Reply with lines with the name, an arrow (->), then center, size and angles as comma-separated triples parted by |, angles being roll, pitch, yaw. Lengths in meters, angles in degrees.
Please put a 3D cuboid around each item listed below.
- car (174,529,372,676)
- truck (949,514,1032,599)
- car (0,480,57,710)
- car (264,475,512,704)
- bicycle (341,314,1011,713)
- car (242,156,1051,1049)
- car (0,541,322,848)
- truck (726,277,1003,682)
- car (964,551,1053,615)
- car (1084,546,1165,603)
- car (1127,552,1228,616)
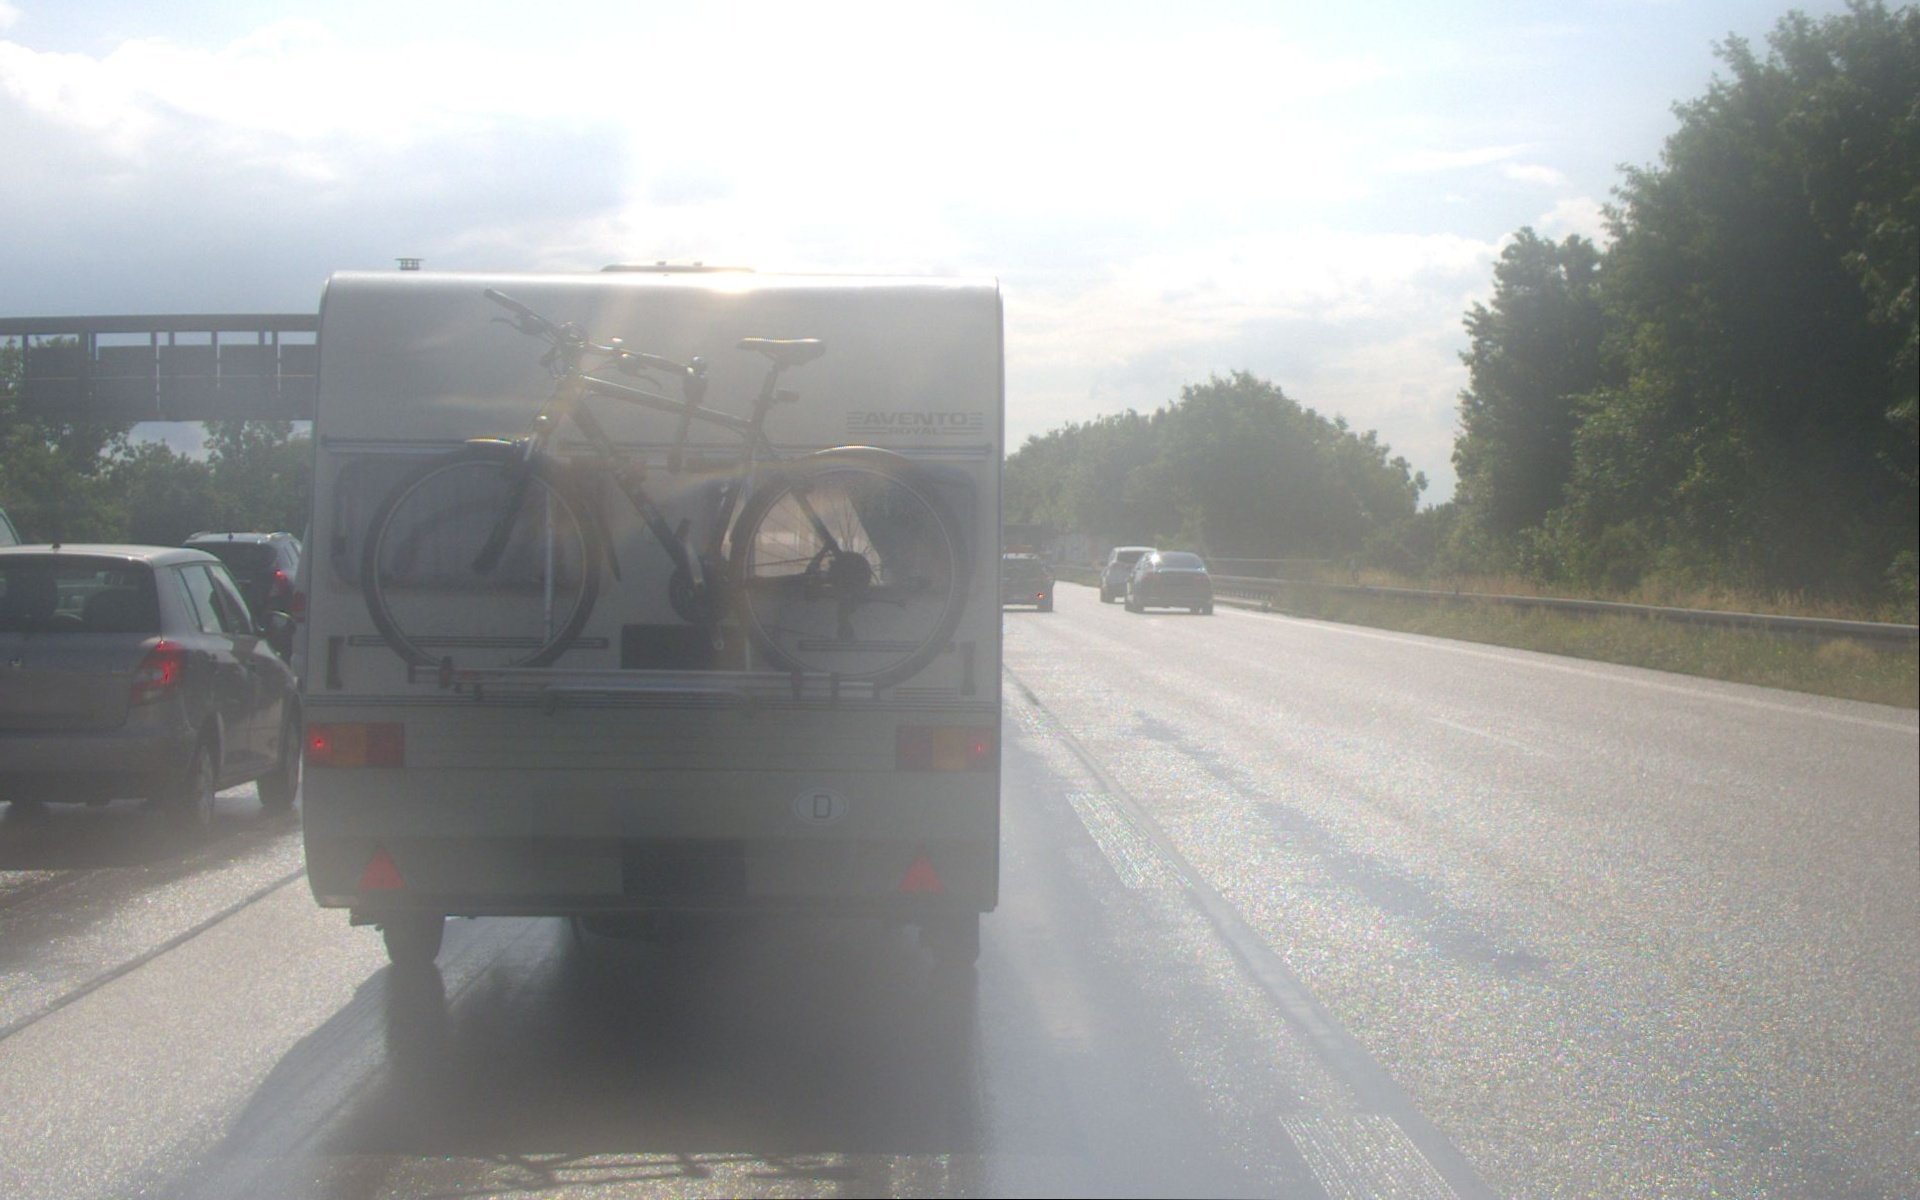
car -> -8.173, 0.009, 41.193 | 1.771, 1.656, 4.001 | 1, 1, -3
truck -> 0.873, -1.313, 102.878 | 2.415, 2.435, 6.053 | 0, 1, 0
car -> -8.945, -0.034, 28.261 | 1.848, 1.927, 5.017 | 0, 1, -1
car -> -5.326, -0.115, 32.442 | 1.876, 2.007, 4.001 | 1, 1, -3
bicycle -> -0.822, -0.253, 10.163 | 1.934, 1.137, 0.384 | 1, 0, 1
car -> -0.952, -0.015, 12.370 | 2.410, 2.665, 4.000 | 1, 1, 0
car -> -4.744, 0.416, 18.316 | 1.987, 1.453, 3.827 | 0, 1, 0
truck -> -1.263, -1.455, 44.602 | 3.146, 4.610, 10.737 | 0, 1, -2
car -> 1.201, -0.442, 86.562 | 1.835, 1.552, 4.001 | 1, 1, -5
car -> 4.867, -0.770, 102.054 | 1.876, 1.623, 4.001 | 1, 1, -5
car -> 5.300, -0.408, 84.184 | 1.876, 1.489, 4.001 | 1, 1, -5
